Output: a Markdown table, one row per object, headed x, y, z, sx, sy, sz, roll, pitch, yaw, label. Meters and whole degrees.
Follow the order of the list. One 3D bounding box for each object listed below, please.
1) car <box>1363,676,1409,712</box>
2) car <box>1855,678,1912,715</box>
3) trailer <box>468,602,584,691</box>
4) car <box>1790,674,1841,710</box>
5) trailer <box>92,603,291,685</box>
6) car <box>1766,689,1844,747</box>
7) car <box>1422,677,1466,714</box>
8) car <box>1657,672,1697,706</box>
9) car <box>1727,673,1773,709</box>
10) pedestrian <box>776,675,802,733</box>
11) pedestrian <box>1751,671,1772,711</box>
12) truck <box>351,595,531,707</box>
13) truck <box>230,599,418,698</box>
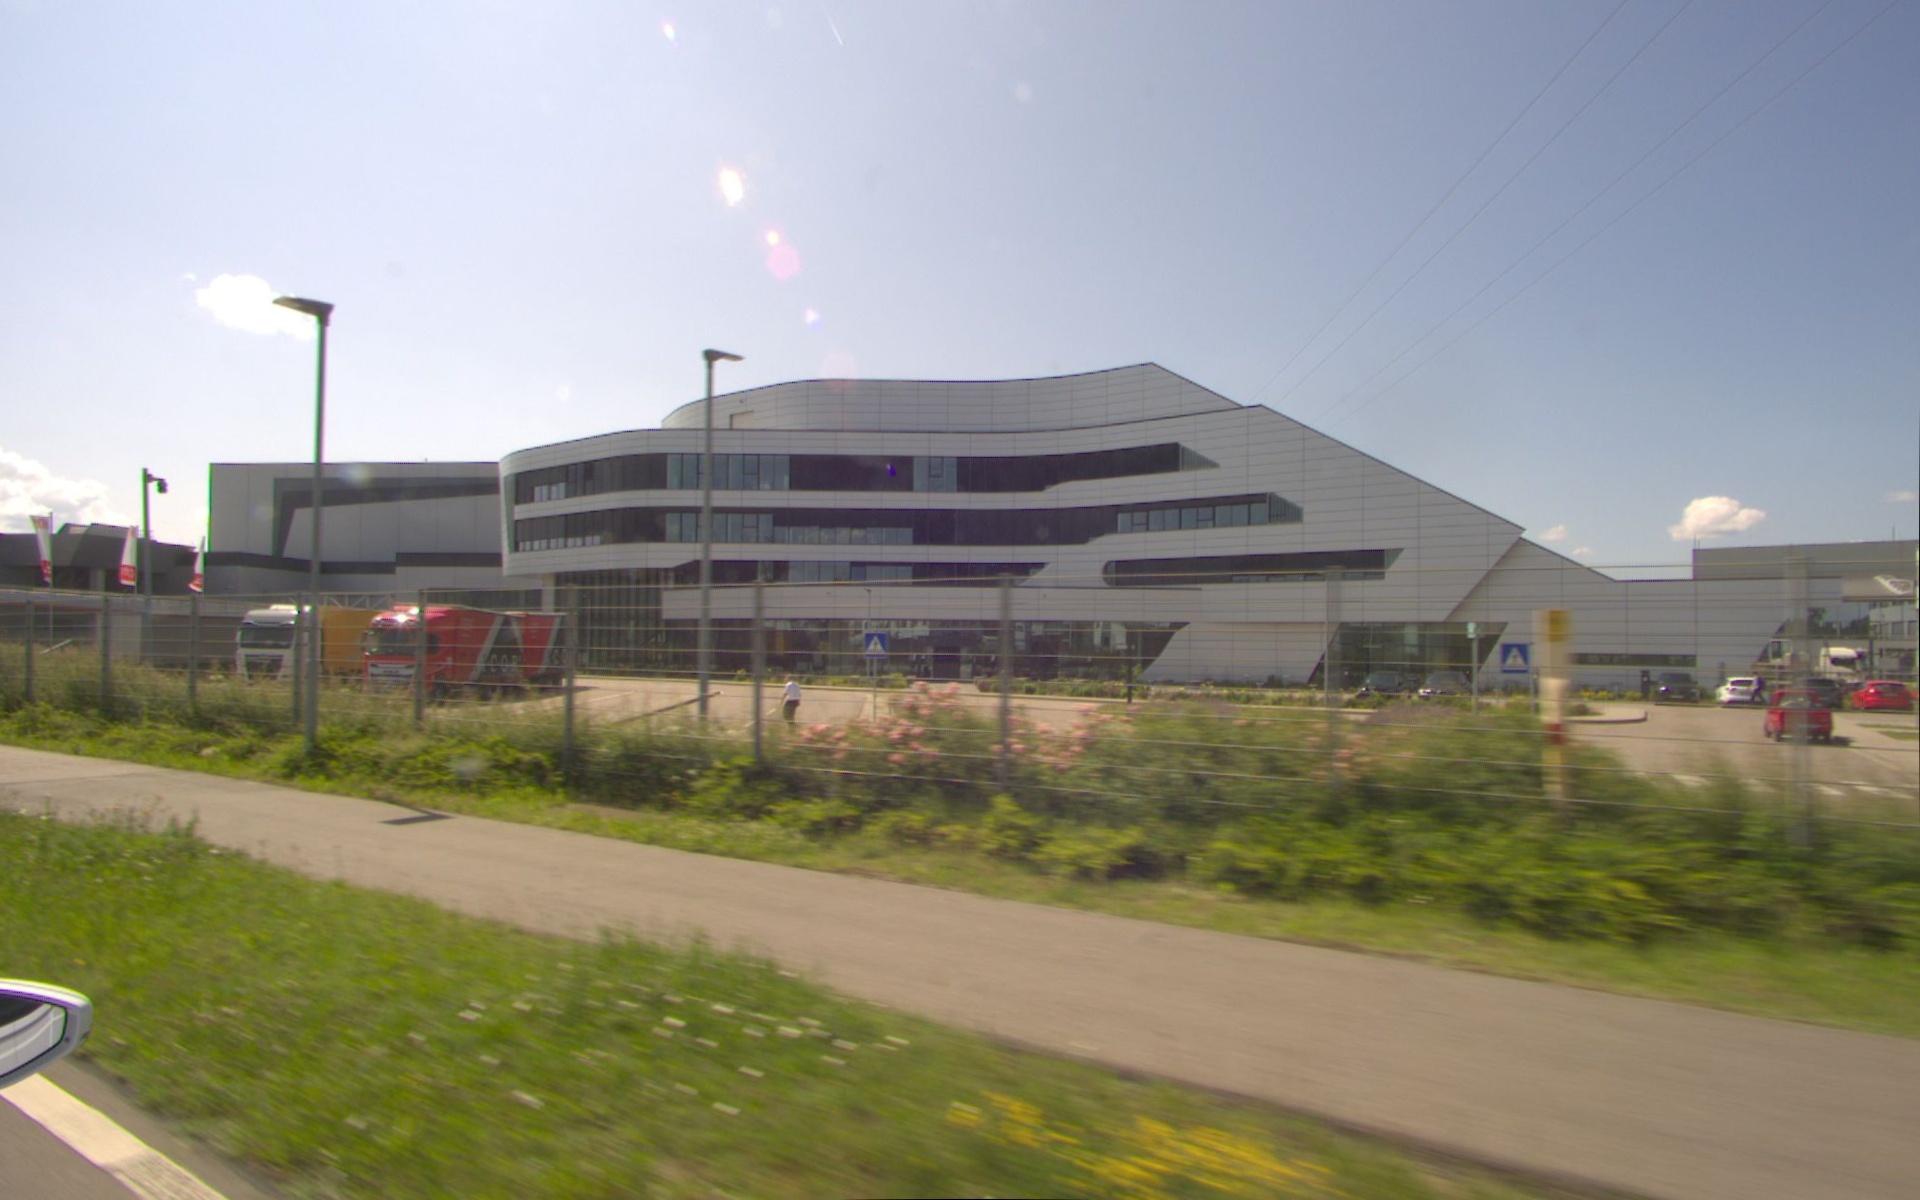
| x | y | z | sx | sy | sz | roll | pitch | yaw | label |
| --- | --- | --- | --- | --- | --- | --- | --- | --- | --- |
| 19.955 | 4.367 | 46.847 | 1.451 | 1.553 | 3.042 | -1 | -3 | 34 | car |
| 42.266 | 4.401 | 45.874 | 1.451 | 1.553 | 3.042 | -1 | -3 | 34 | car |
| -23.040 | 2.432 | 53.781 | 2.970 | 4.351 | 8.718 | 0 | -1 | -4 | trailer |
| 39.998 | 4.284 | 46.871 | 1.451 | 1.553 | 3.042 | -1 | -3 | 34 | car |
| -47.407 | 2.646 | 62.682 | 2.713 | 4.494 | 14.066 | 0 | -2 | -5 | trailer |
| 26.002 | 3.603 | 30.884 | 1.435 | 1.553 | 3.137 | -1 | -3 | 33 | car |
| 22.067 | 4.318 | 45.609 | 1.451 | 1.553 | 3.042 | -1 | -3 | 34 | car |
| 35.531 | 4.376 | 49.668 | 1.451 | 1.553 | 3.042 | -1 | -3 | 34 | car |
| 37.627 | 4.305 | 47.722 | 1.451 | 1.553 | 3.042 | -1 | -3 | 34 | car |
| -5.041 | 3.057 | 29.569 | 0.566 | 1.673 | 0.482 | 0 | -2 | 32 | pedestrian |
| 36.664 | 4.147 | 45.809 | 0.677 | 1.768 | 0.609 | -1 | -1 | 33 | pedestrian |
| -22.308 | 2.119 | 43.998 | 2.970 | 4.310 | 10.976 | 0 | -2 | -5 | truck |
| -30.194 | 2.242 | 48.375 | 2.768 | 4.226 | 10.976 | 0 | -2 | -4 | truck |
